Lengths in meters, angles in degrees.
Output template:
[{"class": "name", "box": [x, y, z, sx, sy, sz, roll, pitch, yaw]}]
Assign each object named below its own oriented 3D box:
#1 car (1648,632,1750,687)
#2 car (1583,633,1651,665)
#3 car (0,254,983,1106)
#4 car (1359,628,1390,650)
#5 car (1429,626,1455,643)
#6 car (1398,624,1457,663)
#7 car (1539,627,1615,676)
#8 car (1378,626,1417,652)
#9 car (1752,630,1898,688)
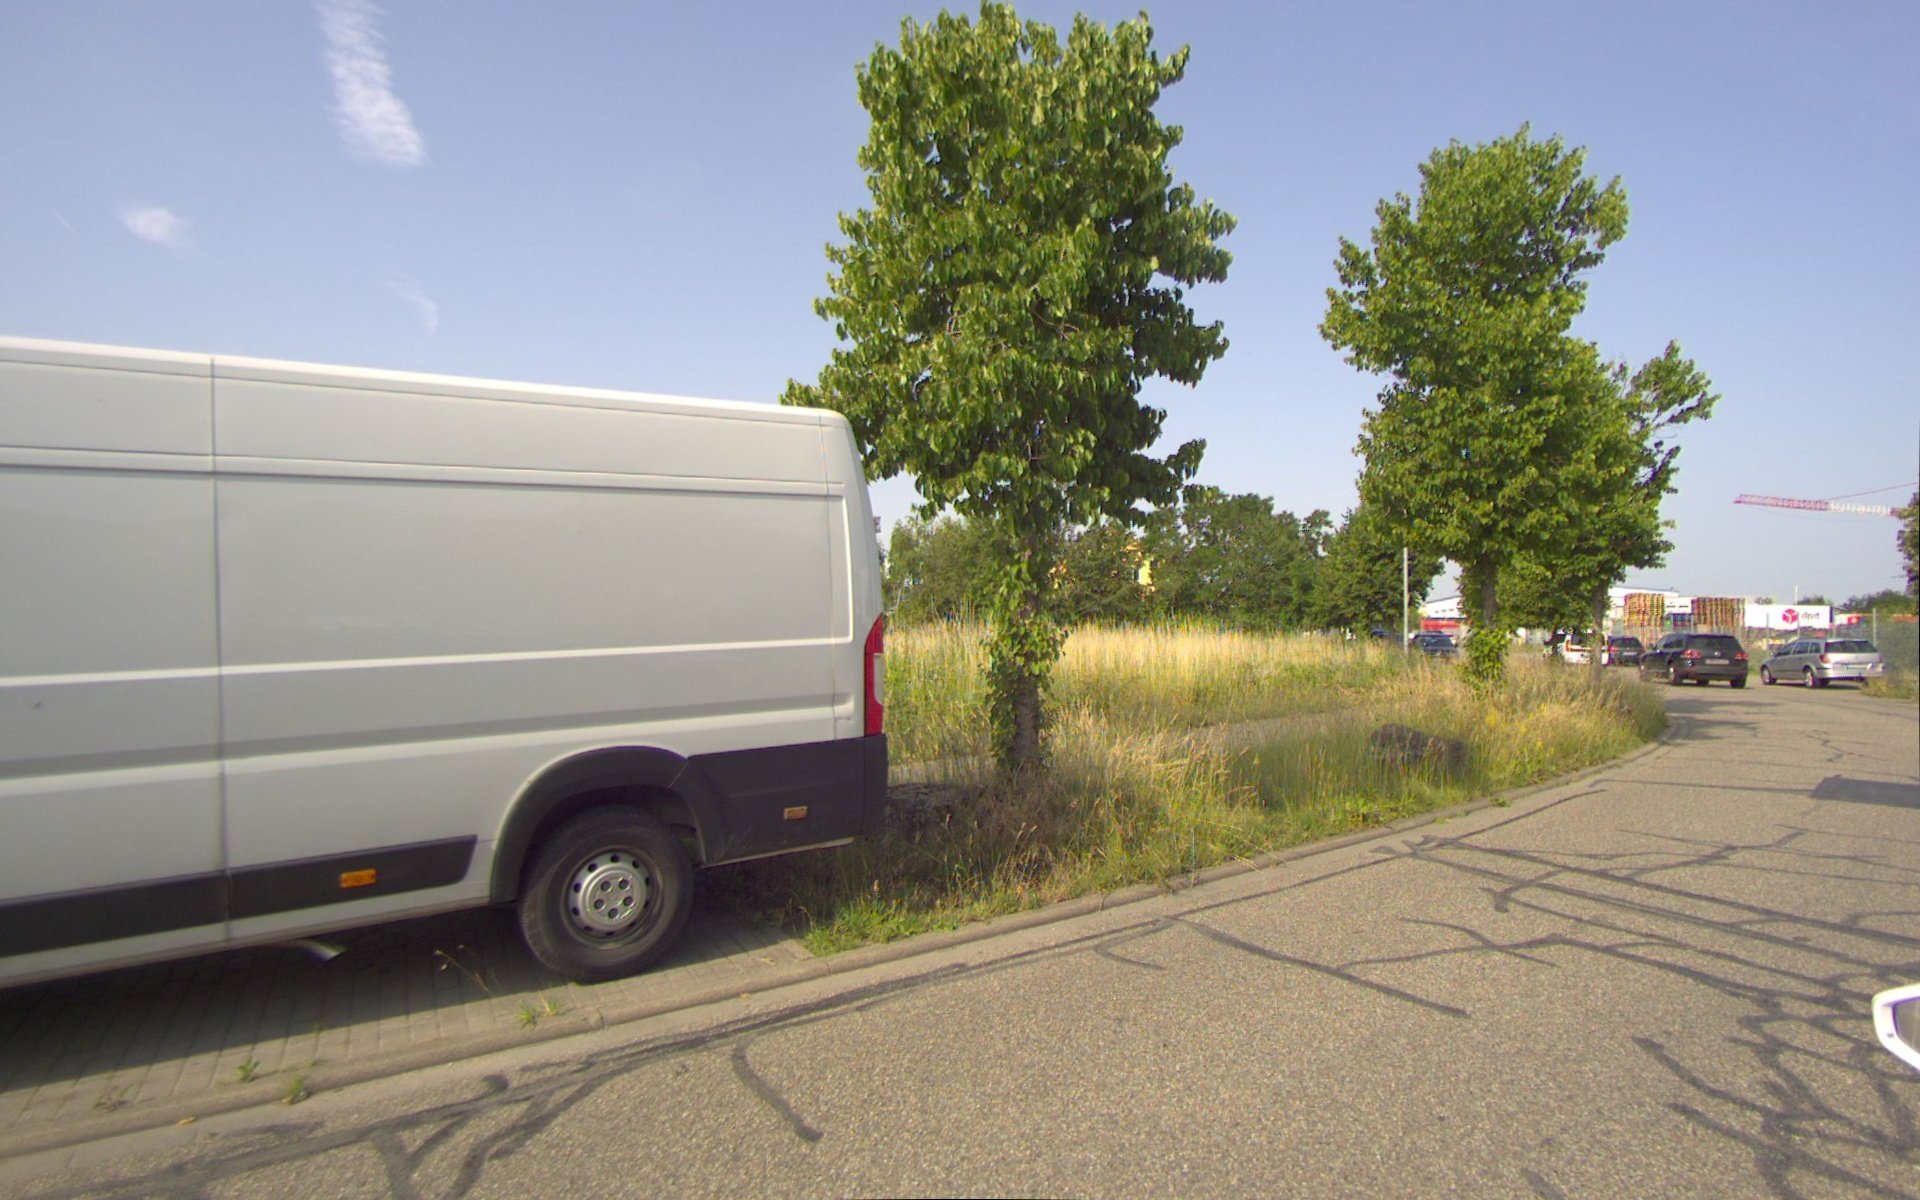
[{"class": "car", "box": [23.498, 1.854, 32.090, 1.851, 1.607, 4.110, 0, -2, 25]}, {"class": "car", "box": [33.143, 2.451, 50.795, 1.686, 1.535, 4.006, -2, -2, 15]}, {"class": "car", "box": [-3.151, 0.244, 4.217, 6.435, 2.630, 2.089, 1, 1, -33]}, {"class": "car", "box": [30.792, 2.874, 74.614, 1.802, 1.516, 4.050, 2, -1, 18]}, {"class": "car", "box": [48.079, 3.436, 100.210, 1.686, 1.702, 3.951, 0, -2, 17]}, {"class": "car", "box": [21.123, 1.937, 45.564, 1.871, 1.647, 4.450, 2, -1, 18]}, {"class": "car", "box": [28.574, 2.371, 46.659, 2.086, 2.138, 4.625, 0, -2, 20]}, {"class": "car", "box": [26.999, 2.379, 62.033, 1.802, 1.516, 4.050, 2, -1, 18]}, {"class": "car", "box": [26.789, 1.783, 31.306, 1.769, 1.647, 4.451, -2, -2, 17]}]
